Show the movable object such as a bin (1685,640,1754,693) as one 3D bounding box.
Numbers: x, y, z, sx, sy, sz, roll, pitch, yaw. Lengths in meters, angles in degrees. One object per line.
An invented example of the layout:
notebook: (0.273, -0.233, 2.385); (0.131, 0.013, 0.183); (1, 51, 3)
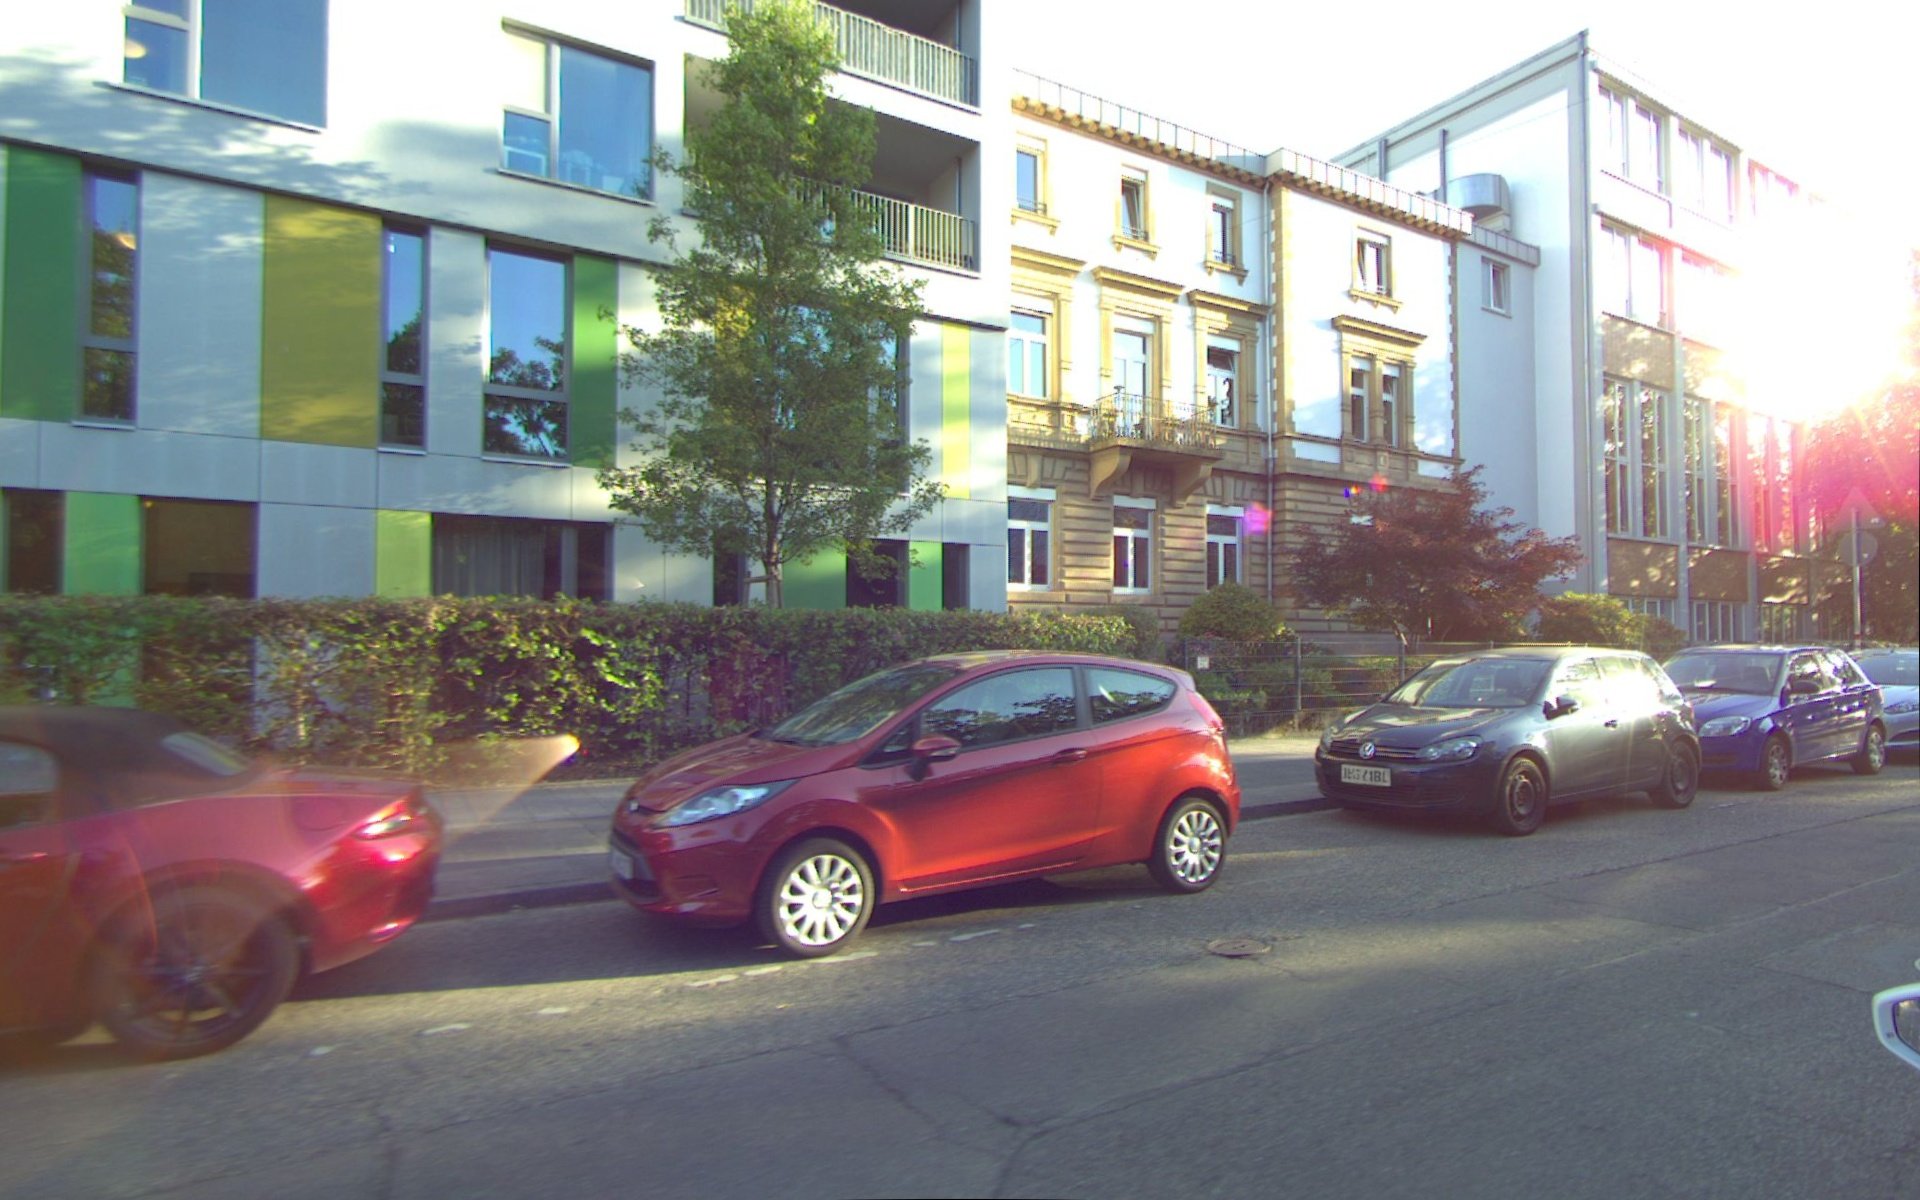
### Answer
movable object such as a bin: (21.680, 1.881, 28.678); (1.354, 1.449, 1.095); (1, -2, -27)

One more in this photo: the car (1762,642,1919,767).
car: (12.898, 1.350, 13.846); (3.727, 1.513, 1.594); (1, -4, -30)

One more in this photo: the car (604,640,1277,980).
car: (-0.004, 0.991, 6.091); (3.818, 1.474, 1.590); (2, -2, -32)

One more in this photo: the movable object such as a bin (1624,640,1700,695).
movable object such as a bin: (19.086, 1.805, 27.320); (1.499, 1.449, 1.095); (1, -2, -27)

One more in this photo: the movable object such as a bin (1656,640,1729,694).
movable object such as a bin: (20.412, 1.844, 28.009); (1.467, 1.449, 1.095); (1, -2, -27)

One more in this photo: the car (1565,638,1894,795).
car: (8.915, 1.238, 11.597); (3.740, 1.527, 1.592); (1, -4, -29)

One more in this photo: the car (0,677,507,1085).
car: (-3.839, 0.995, 3.842); (3.691, 1.296, 1.549); (1, -4, -32)

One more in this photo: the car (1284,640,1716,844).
car: (4.978, 1.140, 9.144); (4.008, 1.474, 1.591); (1, -4, -31)
